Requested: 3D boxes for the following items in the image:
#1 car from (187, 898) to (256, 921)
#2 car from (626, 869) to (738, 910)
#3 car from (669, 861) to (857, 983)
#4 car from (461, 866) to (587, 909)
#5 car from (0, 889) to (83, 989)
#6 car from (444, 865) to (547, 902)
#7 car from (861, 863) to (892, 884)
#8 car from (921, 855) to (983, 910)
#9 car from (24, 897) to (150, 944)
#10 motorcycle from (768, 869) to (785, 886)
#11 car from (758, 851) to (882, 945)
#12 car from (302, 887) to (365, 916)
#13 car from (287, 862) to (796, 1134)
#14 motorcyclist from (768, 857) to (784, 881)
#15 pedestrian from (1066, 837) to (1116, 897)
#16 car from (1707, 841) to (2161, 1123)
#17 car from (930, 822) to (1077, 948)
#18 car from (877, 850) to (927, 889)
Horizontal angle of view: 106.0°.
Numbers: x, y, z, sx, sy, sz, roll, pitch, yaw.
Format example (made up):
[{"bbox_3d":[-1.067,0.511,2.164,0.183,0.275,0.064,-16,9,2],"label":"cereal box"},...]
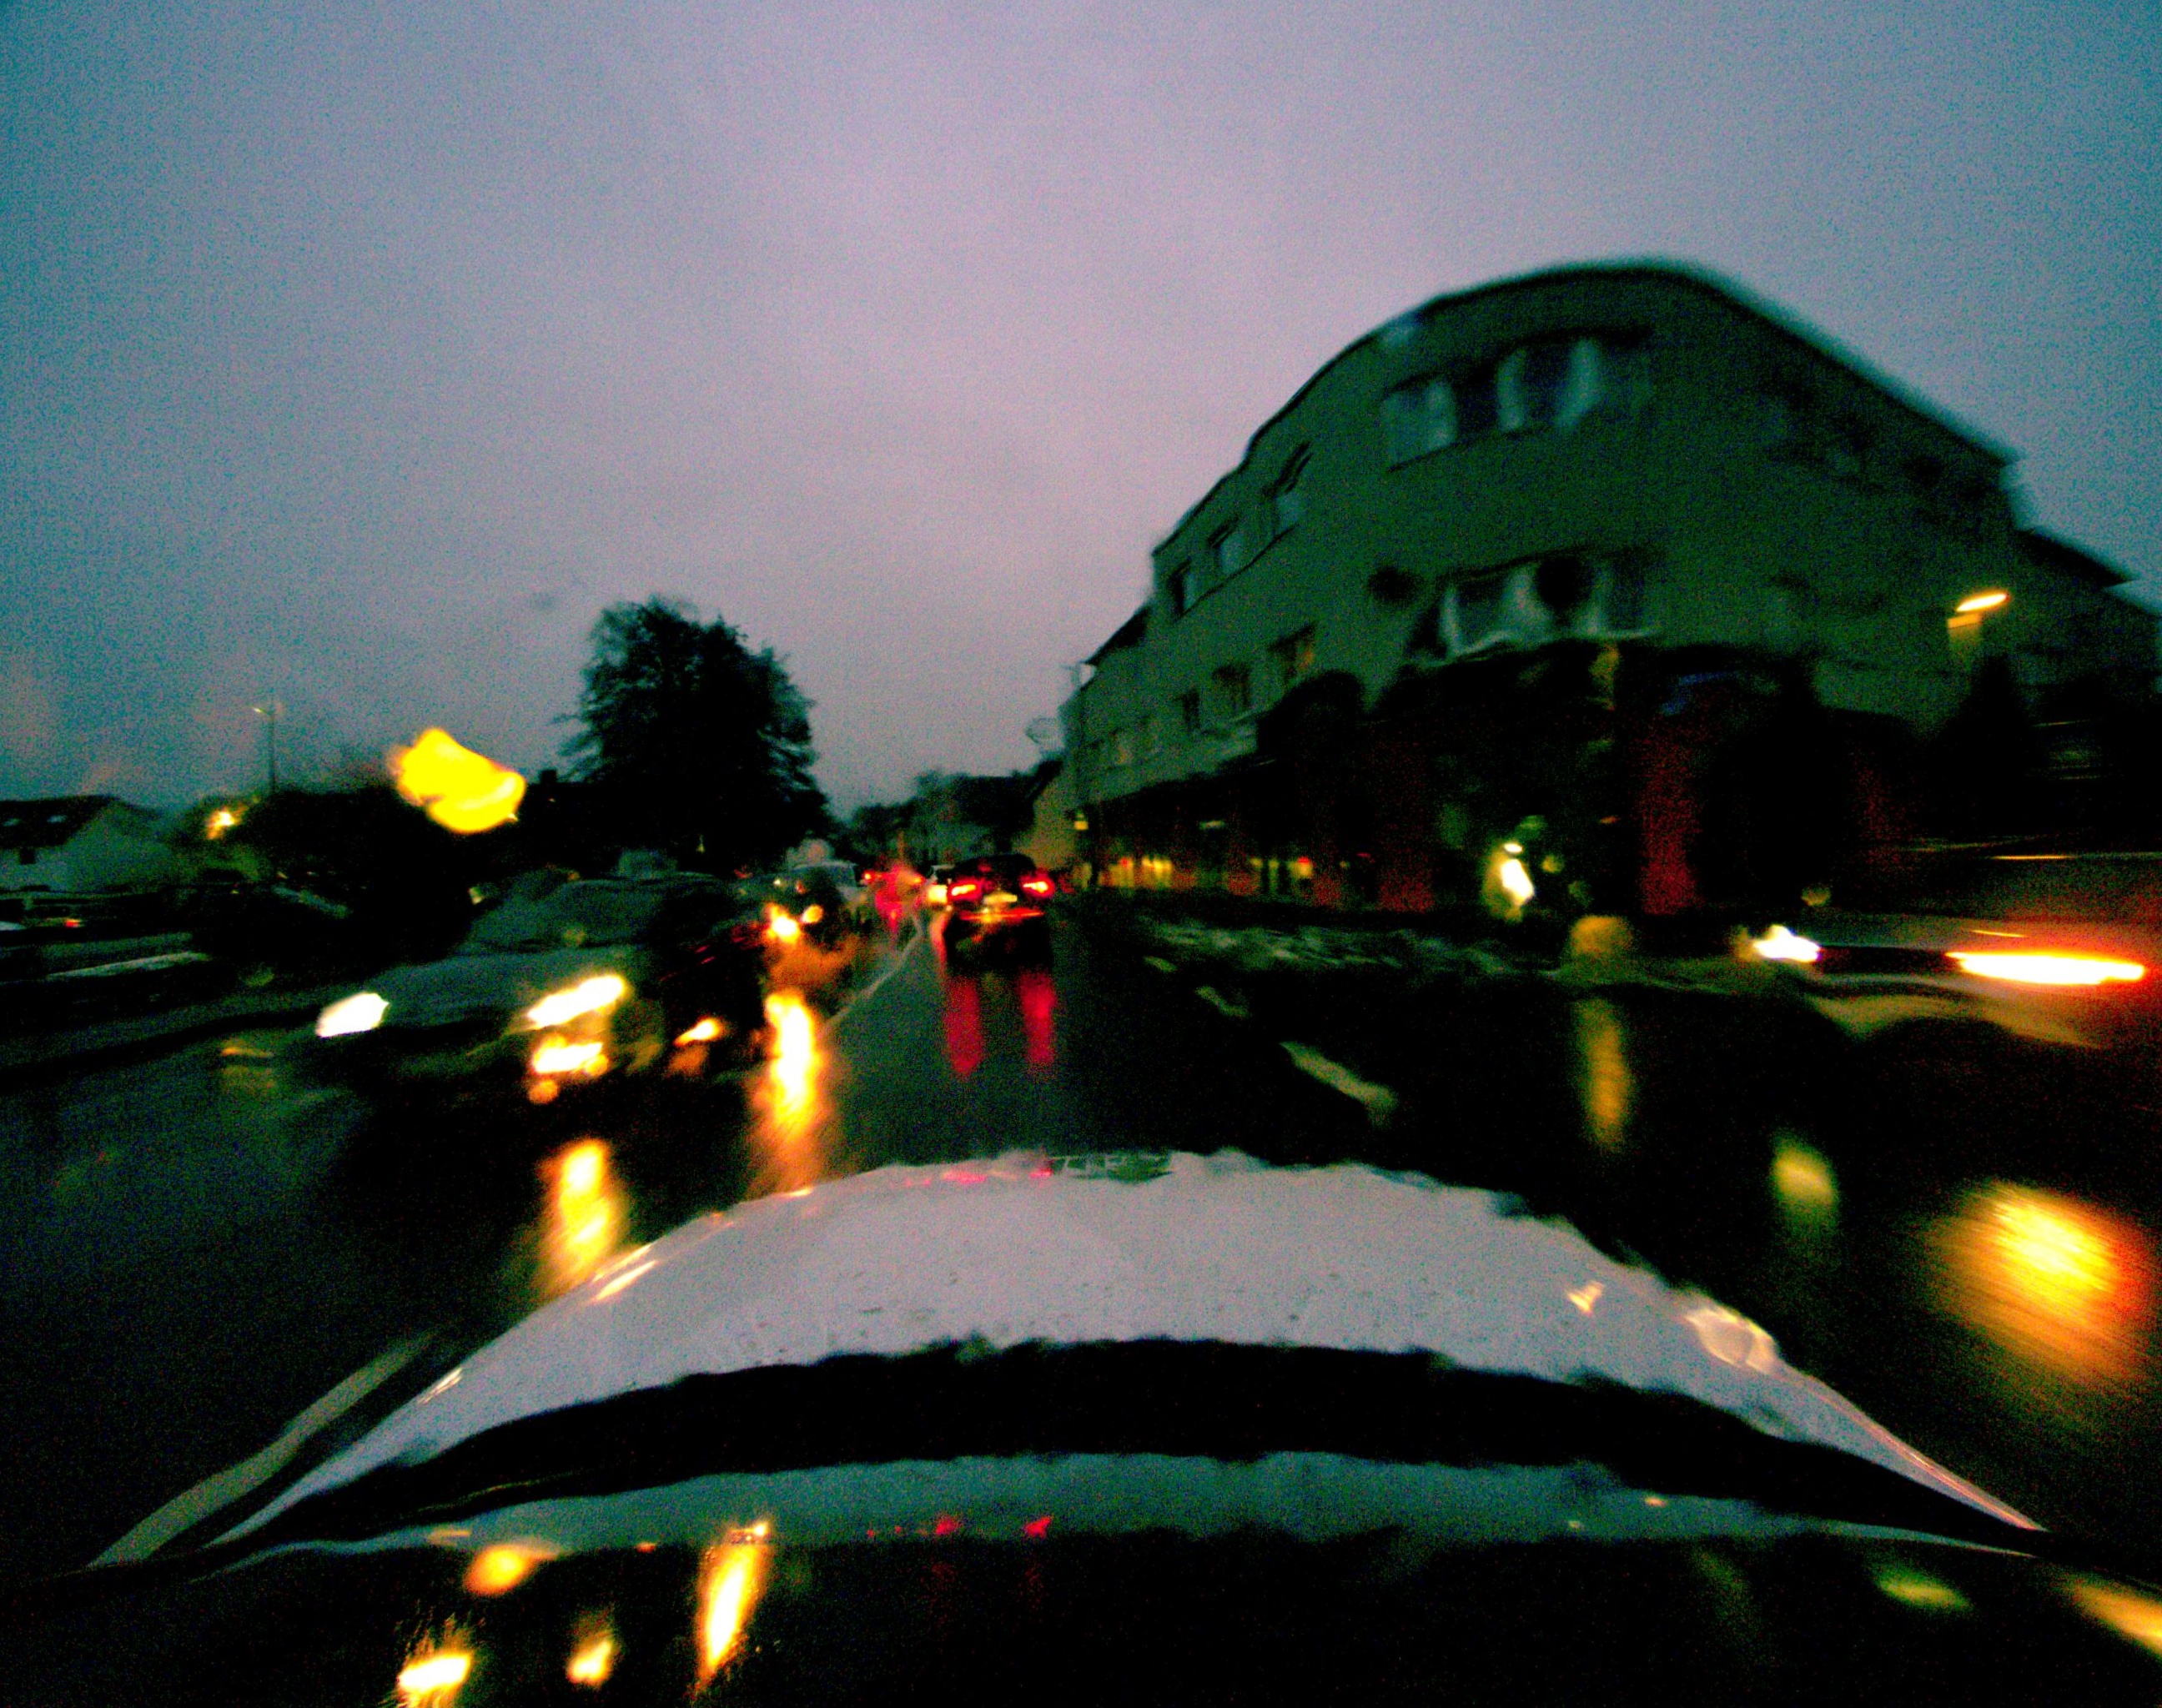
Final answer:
[{"bbox_3d":[-52.018,3.336,49.384,1.566,1.131,3.369,0,0,-21],"label":"car"},{"bbox_3d":[-17.646,1.534,36.226,4.239,1.699,1.887,0,-1,-19],"label":"car"},{"bbox_3d":[-4.754,0.907,12.799,1.770,1.495,4.031,-2,0,-8],"label":"car"},{"bbox_3d":[-25.734,1.521,37.824,4.425,1.671,1.954,-3,1,-22],"label":"car"},{"bbox_3d":[-21.619,1.632,14.246,4.792,1.711,2.017,-3,0,-24],"label":"car"},{"bbox_3d":[-34.364,1.689,47.993,4.673,1.977,2.109,-1,1,-29],"label":"car"},{"bbox_3d":[-14.857,1.387,59.085,1.847,1.331,3.914,-4,0,-18],"label":"car"},{"bbox_3d":[-4.394,0.890,27.355,1.858,1.647,3.985,-2,0,-11],"label":"car"},{"bbox_3d":[-42.711,2.814,35.132,1.922,1.617,3.966,-1,1,-26],"label":"car"},{"bbox_3d":[-18.994,1.471,50.817,0.868,1.024,2.096,-2,-1,-18],"label":"motorcycle"},{"bbox_3d":[-5.525,0.846,17.791,1.770,1.723,4.409,-2,0,-8],"label":"car"},{"bbox_3d":[-47.816,3.002,52.175,1.700,1.640,3.684,0,0,-21],"label":"car"},{"bbox_3d":[-3.829,0.850,6.749,1.659,1.486,3.995,-2,0,-3],"label":"car"},{"bbox_3d":[-18.967,0.929,50.701,0.868,1.485,0.903,-2,-1,-19],"label":"motorcyclist"},{"bbox_3d":[0.335,0.413,27.328,1.256,1.865,1.297,-5,0,-14],"label":"pedestrian"},{"bbox_3d":[6.765,0.634,5.662,4.181,1.441,1.787,0,1,-18],"label":"car"},{"bbox_3d":[-1.291,0.518,15.953,2.302,1.938,5.017,-3,0,0],"label":"car"},{"bbox_3d":[-10.119,0.845,45.780,2.315,1.938,4.990,-3,0,-16],"label":"car"}]
